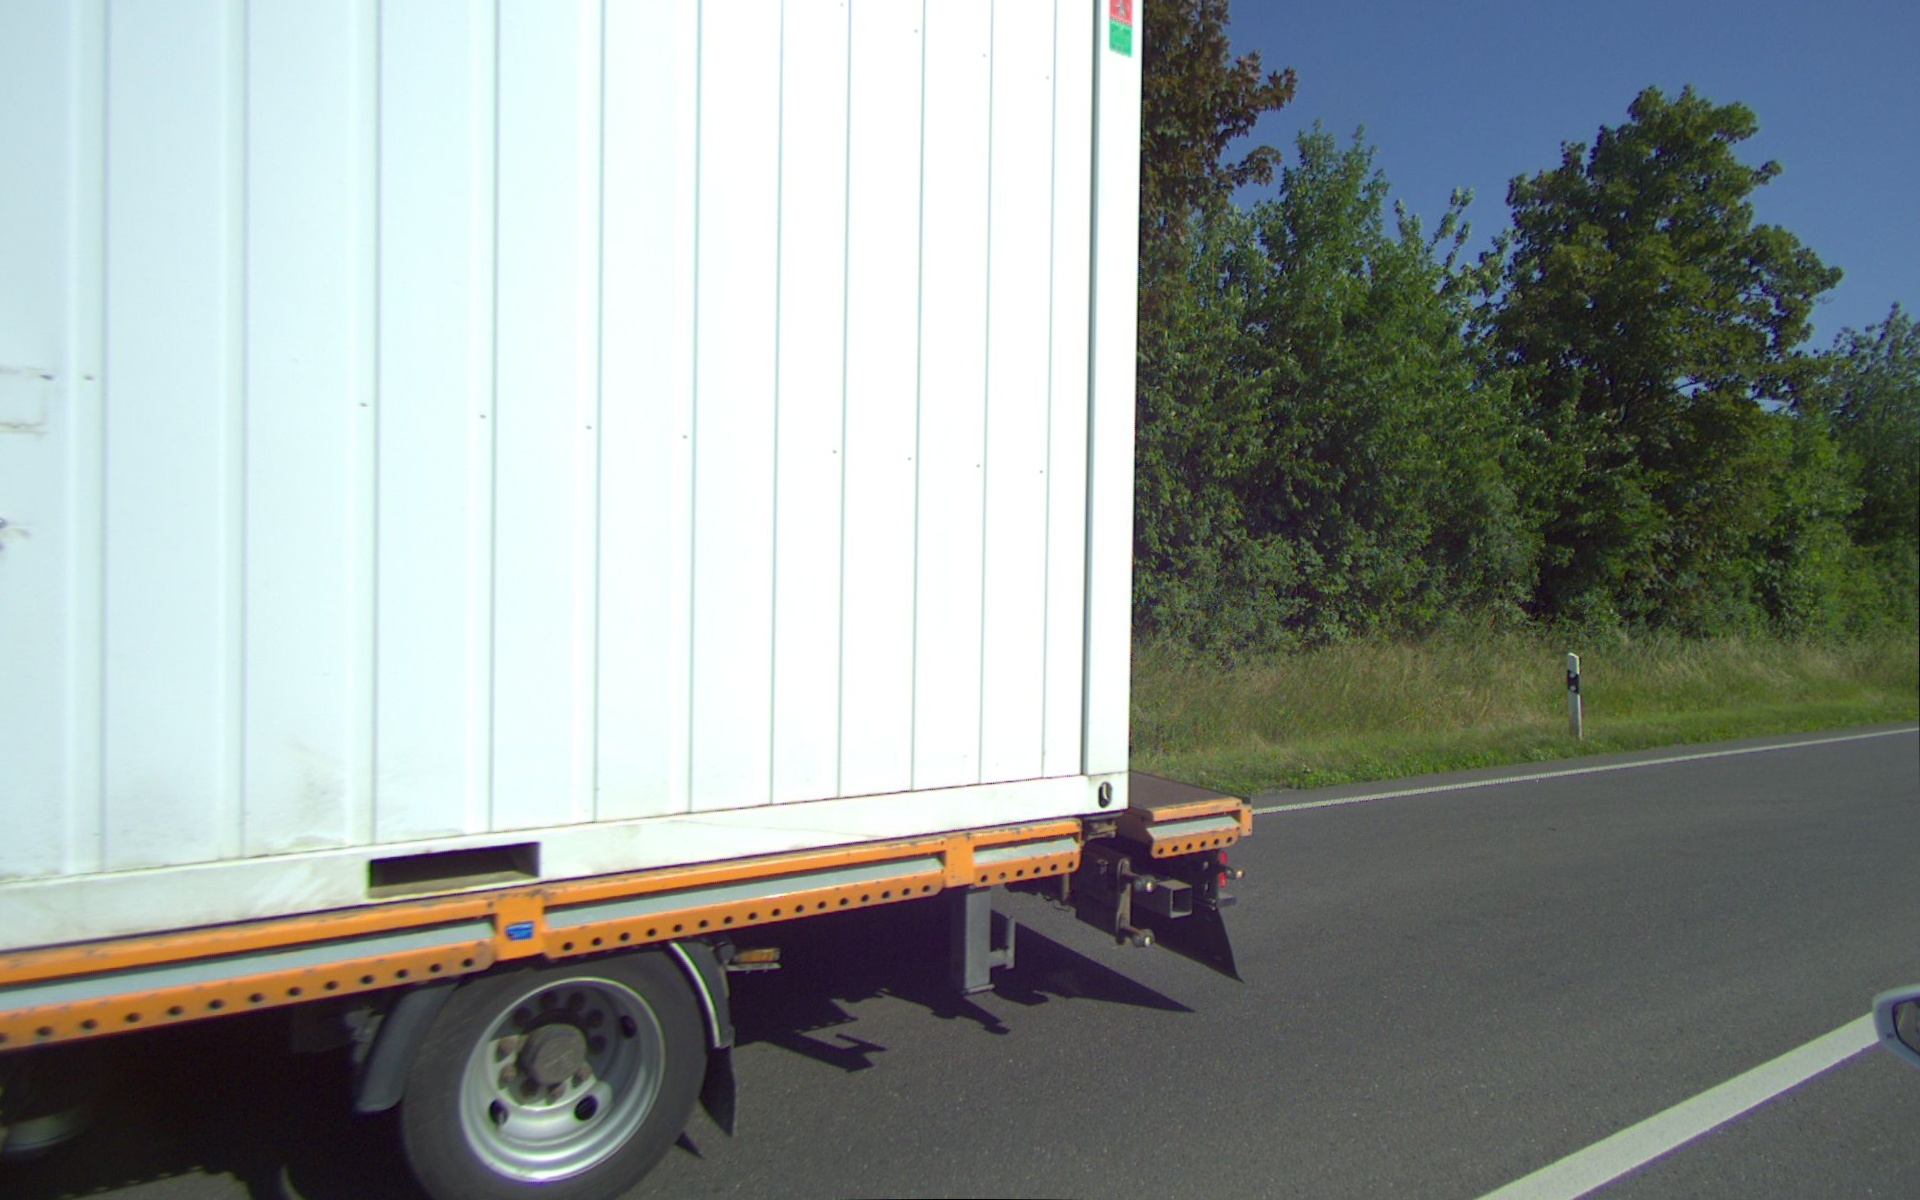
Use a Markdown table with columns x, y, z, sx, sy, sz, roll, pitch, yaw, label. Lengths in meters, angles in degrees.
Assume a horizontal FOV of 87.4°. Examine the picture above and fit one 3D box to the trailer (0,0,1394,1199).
| x | y | z | sx | sy | sz | roll | pitch | yaw | label |
| --- | --- | --- | --- | --- | --- | --- | --- | --- | --- |
| -2.561 | -0.373 | 2.707 | 8.198 | 3.643 | 2.546 | 1 | 0 | -31 | trailer |
